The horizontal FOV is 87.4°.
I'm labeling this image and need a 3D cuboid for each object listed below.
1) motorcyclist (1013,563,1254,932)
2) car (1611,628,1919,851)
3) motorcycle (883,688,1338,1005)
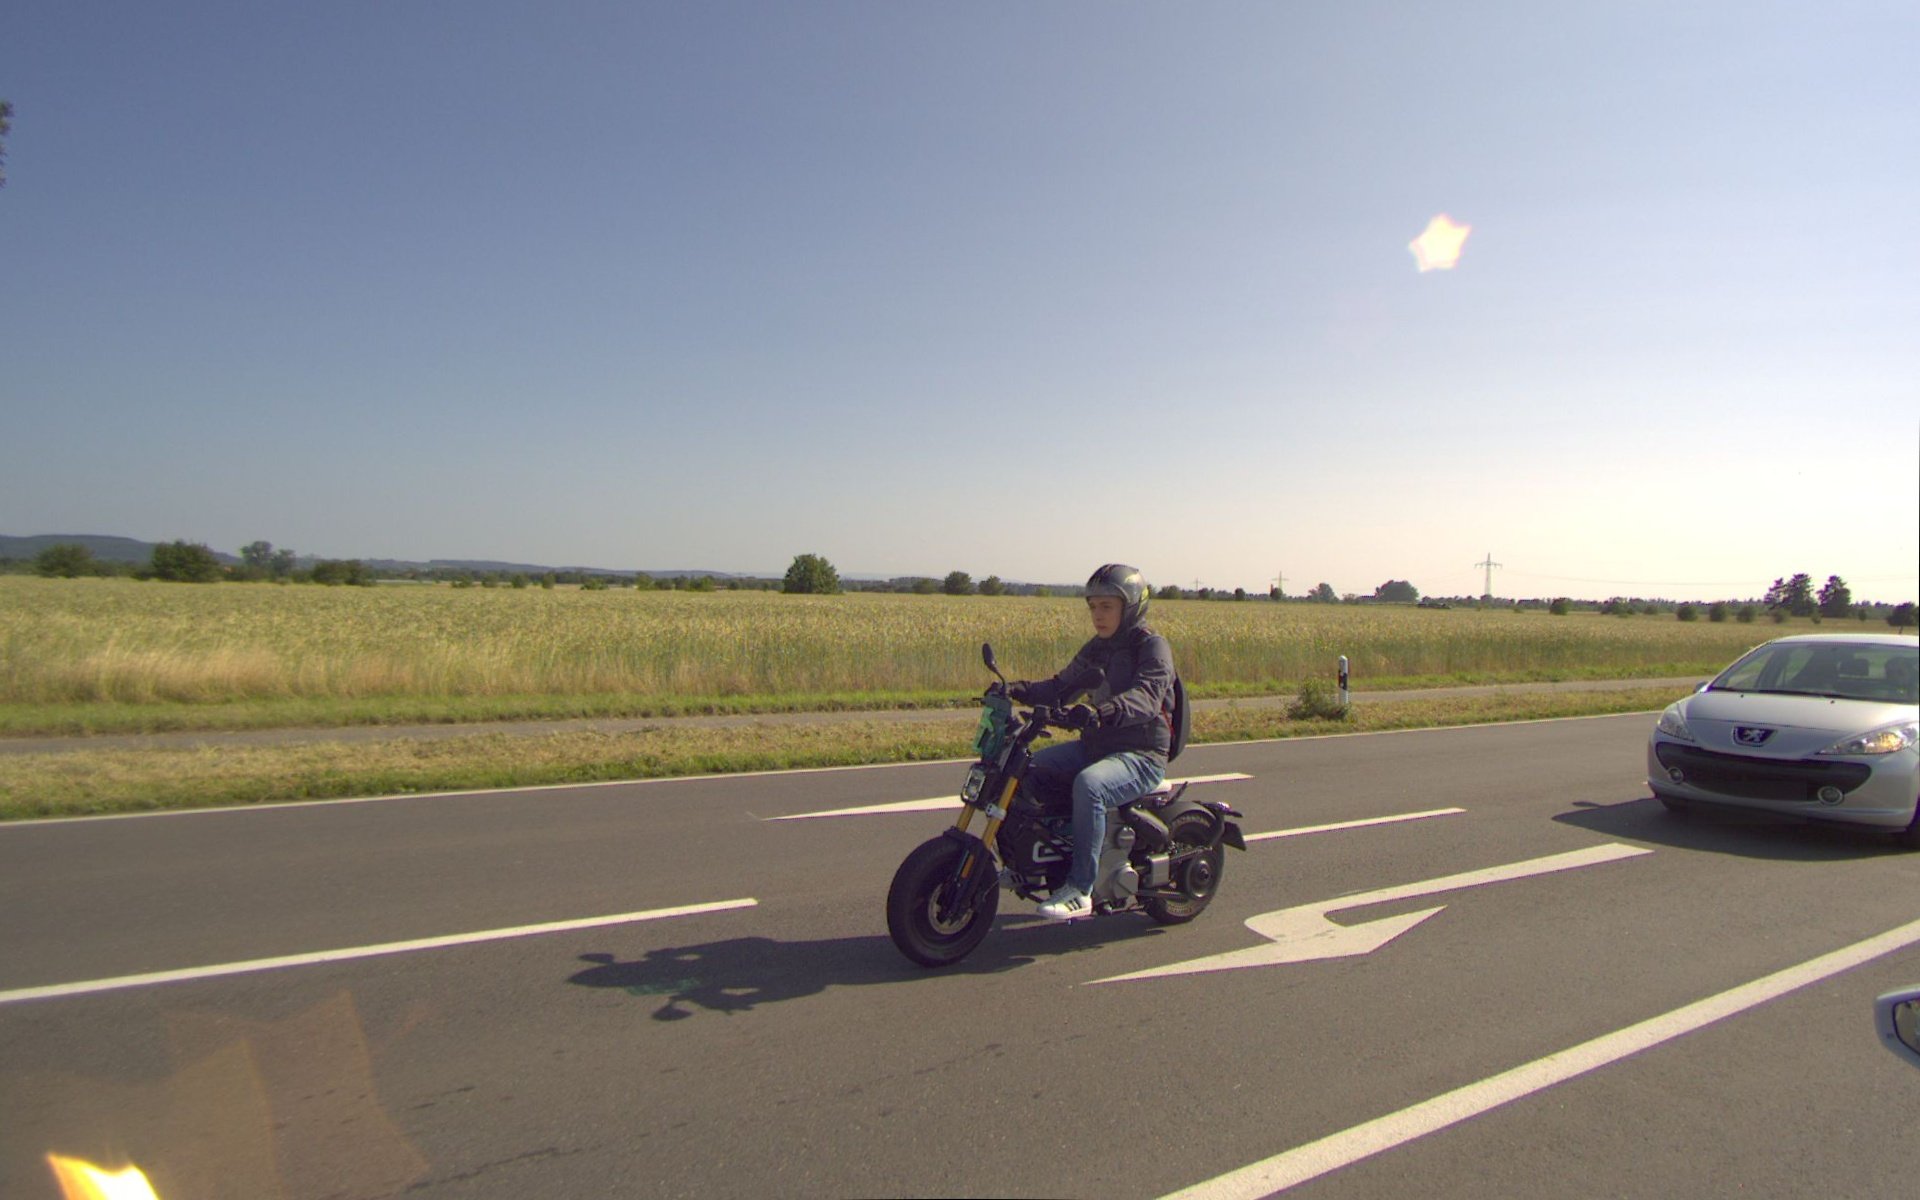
[{"bbox_3d":[0.785,0.613,4.617,0.836,1.515,0.675,1,0,-28],"label":"motorcyclist"},{"bbox_3d":[7.293,0.976,8.272,3.954,1.422,1.678,2,-1,-31],"label":"car"},{"bbox_3d":[0.715,1.006,4.642,1.944,1.088,0.867,1,0,-29],"label":"motorcycle"}]
